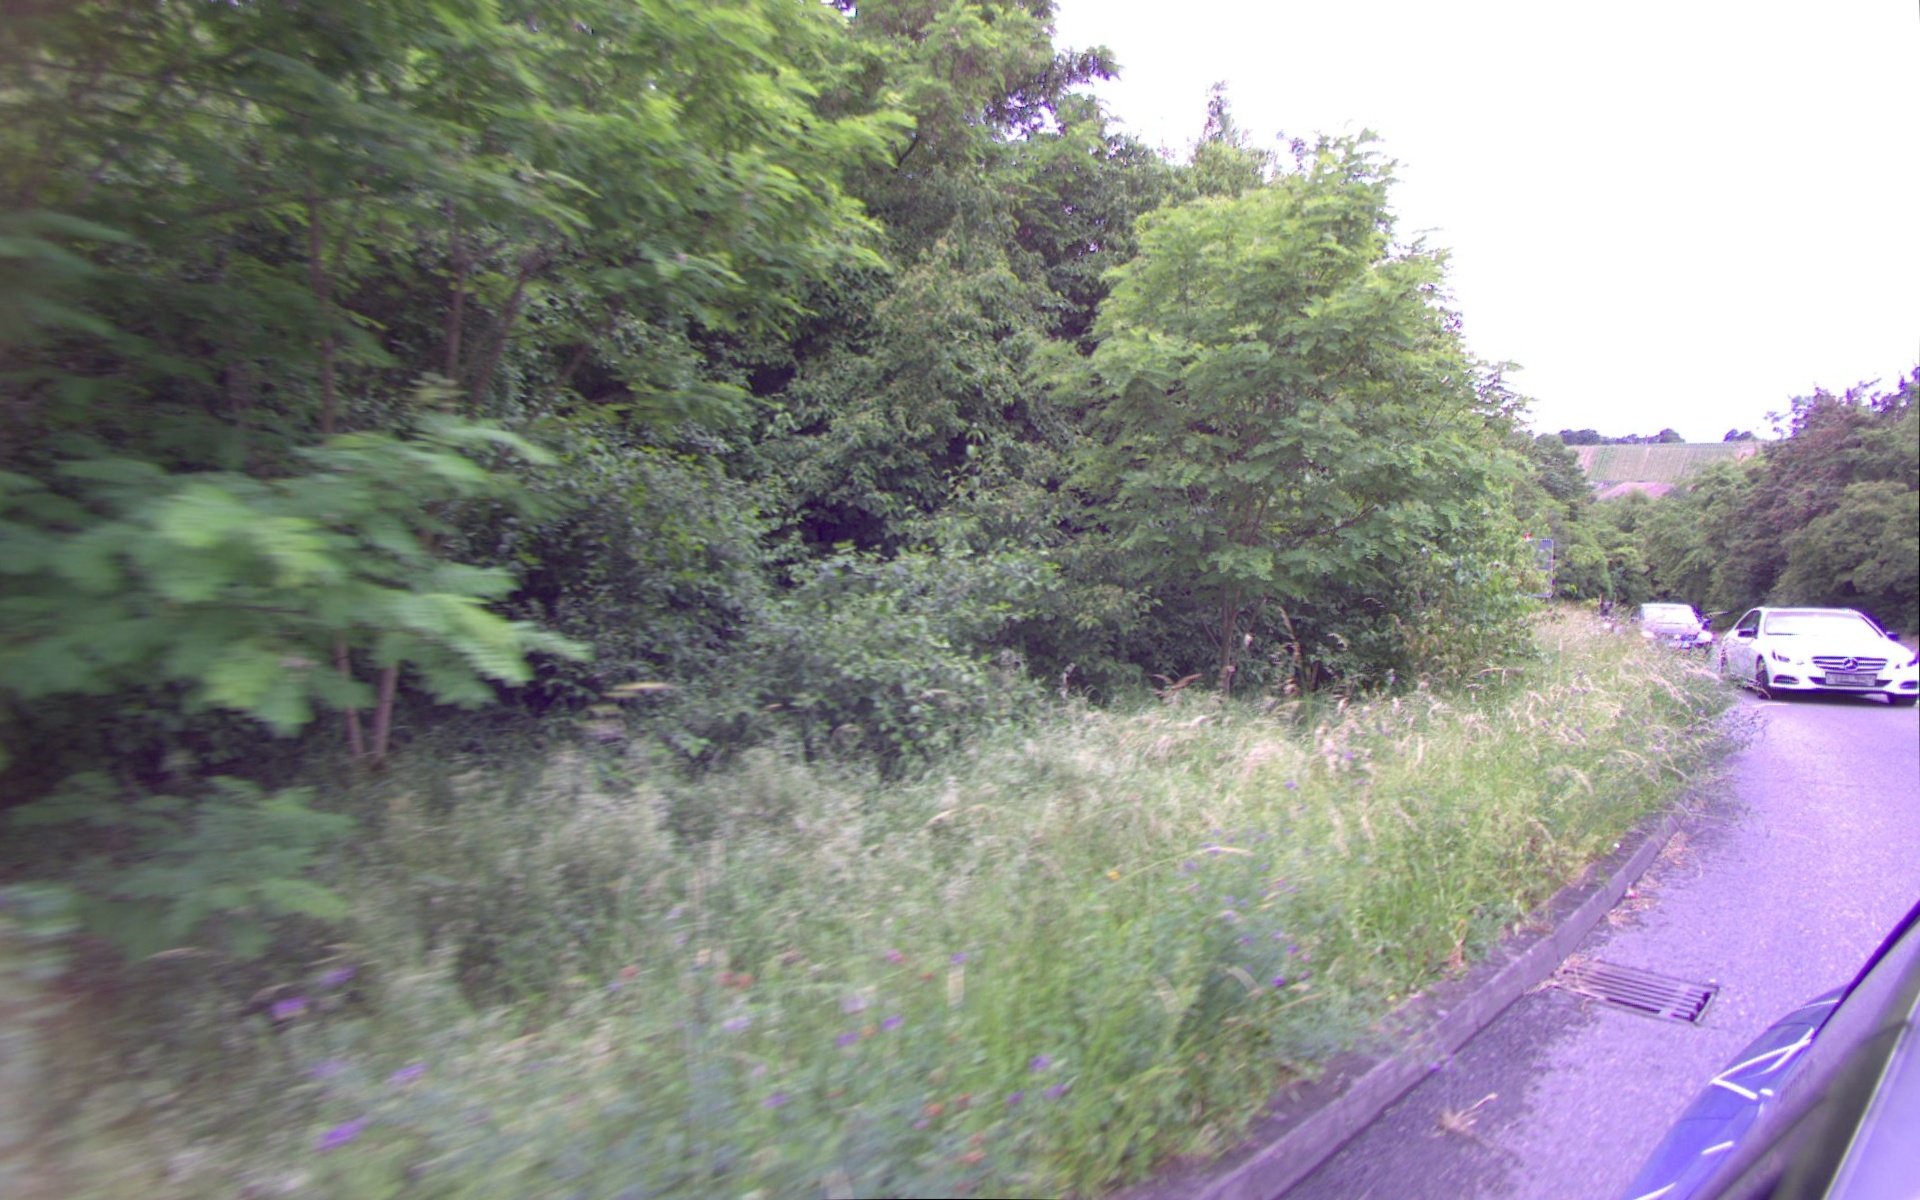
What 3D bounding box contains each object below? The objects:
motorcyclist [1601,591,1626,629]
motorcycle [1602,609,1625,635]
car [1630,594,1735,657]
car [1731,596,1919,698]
[{"bbox_3d":[26.062,0.377,40.378,0.813,1.484,0.778,0,0,31],"label":"motorcyclist"},{"bbox_3d":[26.058,0.873,40.382,0.697,0.988,1.676,0,0,31],"label":"motorcycle"},{"bbox_3d":[20.334,0.682,28.634,1.806,1.564,3.691,3,1,27],"label":"car"},{"bbox_3d":[14.037,0.655,16.415,1.872,1.440,3.958,0,0,29],"label":"car"}]
